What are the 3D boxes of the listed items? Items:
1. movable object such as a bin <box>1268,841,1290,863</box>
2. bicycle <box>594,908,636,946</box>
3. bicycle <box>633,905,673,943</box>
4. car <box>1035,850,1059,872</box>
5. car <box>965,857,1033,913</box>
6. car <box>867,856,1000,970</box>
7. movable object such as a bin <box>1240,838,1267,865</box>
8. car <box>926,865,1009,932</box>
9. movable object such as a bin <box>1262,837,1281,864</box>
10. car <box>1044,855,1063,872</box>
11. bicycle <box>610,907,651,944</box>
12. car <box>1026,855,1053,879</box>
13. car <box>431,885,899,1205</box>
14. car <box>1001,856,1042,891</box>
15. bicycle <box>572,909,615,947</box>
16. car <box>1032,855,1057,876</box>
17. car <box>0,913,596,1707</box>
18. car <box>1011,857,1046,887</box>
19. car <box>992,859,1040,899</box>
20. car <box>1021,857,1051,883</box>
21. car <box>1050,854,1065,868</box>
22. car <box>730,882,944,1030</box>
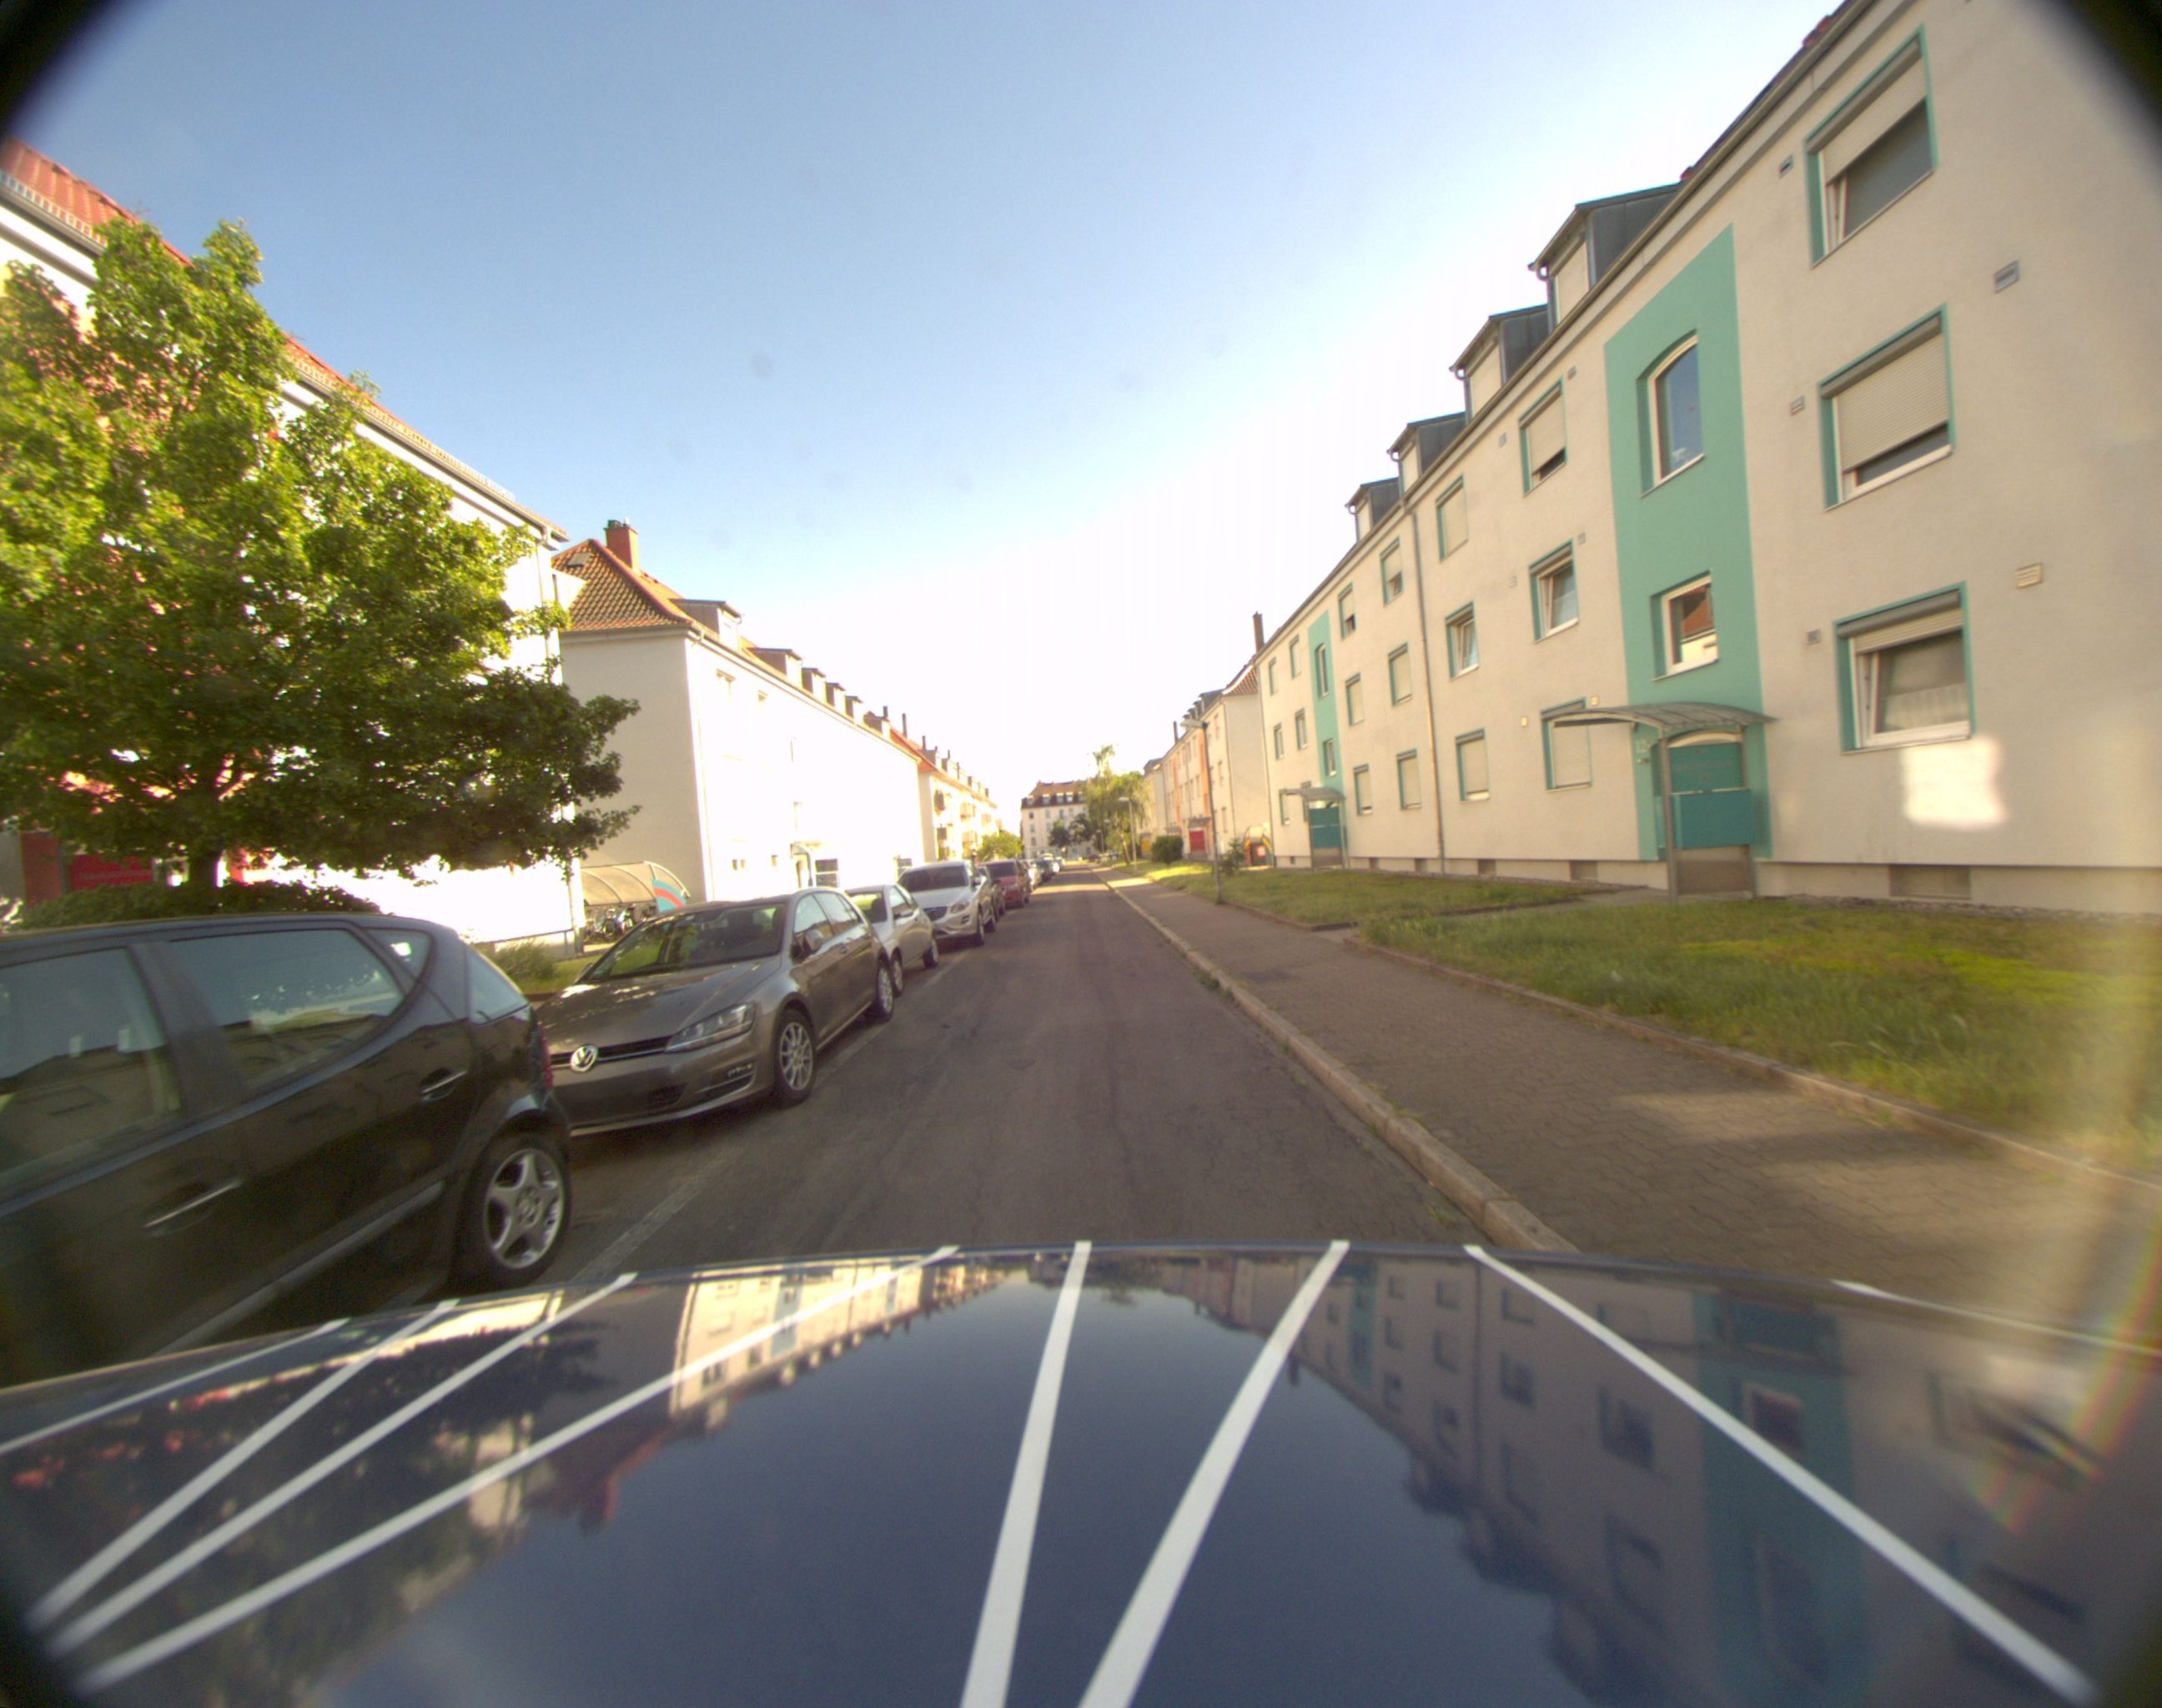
[{"bbox_3d":[9.513,-0.082,36.543,0.753,1.006,0.763,-4,1,0],"label":"movable object such as a bin"},{"bbox_3d":[-13.486,2.096,22.005,0.319,0.940,1.283,-3,1,2],"label":"bicycle"},{"bbox_3d":[-12.297,1.999,21.850,0.319,0.940,1.283,-3,1,2],"label":"bicycle"},{"bbox_3d":[-3.333,0.635,75.283,1.953,1.890,4.763,-4,1,0],"label":"car"},{"bbox_3d":[-2.706,0.988,26.038,1.732,1.597,4.423,-4,0,0],"label":"car"},{"bbox_3d":[-2.737,1.010,15.093,1.780,1.709,4.306,-7,0,-2],"label":"car"},{"bbox_3d":[9.393,-0.152,41.494,1.167,1.385,0.877,-4,1,0],"label":"movable object such as a bin"},{"bbox_3d":[-3.013,1.136,20.912,1.621,1.440,3.857,-7,0,-1],"label":"car"},{"bbox_3d":[10.399,-0.206,41.512,0.753,1.385,0.763,-4,1,0],"label":"movable object such as a bin"},{"bbox_3d":[-2.961,0.967,82.034,1.709,1.562,4.734,-4,1,0],"label":"car"},{"bbox_3d":[-12.989,2.047,21.922,0.319,0.940,1.283,-3,1,2],"label":"bicycle"},{"bbox_3d":[-3.014,0.950,56.269,1.709,1.562,4.040,-4,0,0],"label":"car"},{"bbox_3d":[-2.762,1.129,6.180,1.633,1.441,3.951,-8,0,-3],"label":"car"},{"bbox_3d":[-3.007,0.972,39.188,1.709,1.562,3.876,-4,0,0],"label":"car"},{"bbox_3d":[-14.031,2.125,21.889,0.319,0.940,1.283,-3,1,2],"label":"bicycle"},{"bbox_3d":[-3.184,1.014,66.994,1.708,1.562,4.381,-4,1,3],"label":"car"},{"bbox_3d":[-3.003,1.113,1.665,1.622,1.541,3.609,-6,0,-4],"label":"car"},{"bbox_3d":[-3.067,1.013,44.999,1.709,1.562,4.040,-4,0,0],"label":"car"},{"bbox_3d":[-2.841,1.064,34.086,1.709,1.516,3.876,-6,0,0],"label":"car"},{"bbox_3d":[-2.984,1.032,50.863,1.709,1.562,4.040,-4,0,0],"label":"car"},{"bbox_3d":[-3.019,0.892,99.555,1.709,1.562,3.925,-4,1,0],"label":"car"},{"bbox_3d":[-3.044,1.210,10.260,1.632,1.386,3.488,-5,0,0],"label":"car"}]
